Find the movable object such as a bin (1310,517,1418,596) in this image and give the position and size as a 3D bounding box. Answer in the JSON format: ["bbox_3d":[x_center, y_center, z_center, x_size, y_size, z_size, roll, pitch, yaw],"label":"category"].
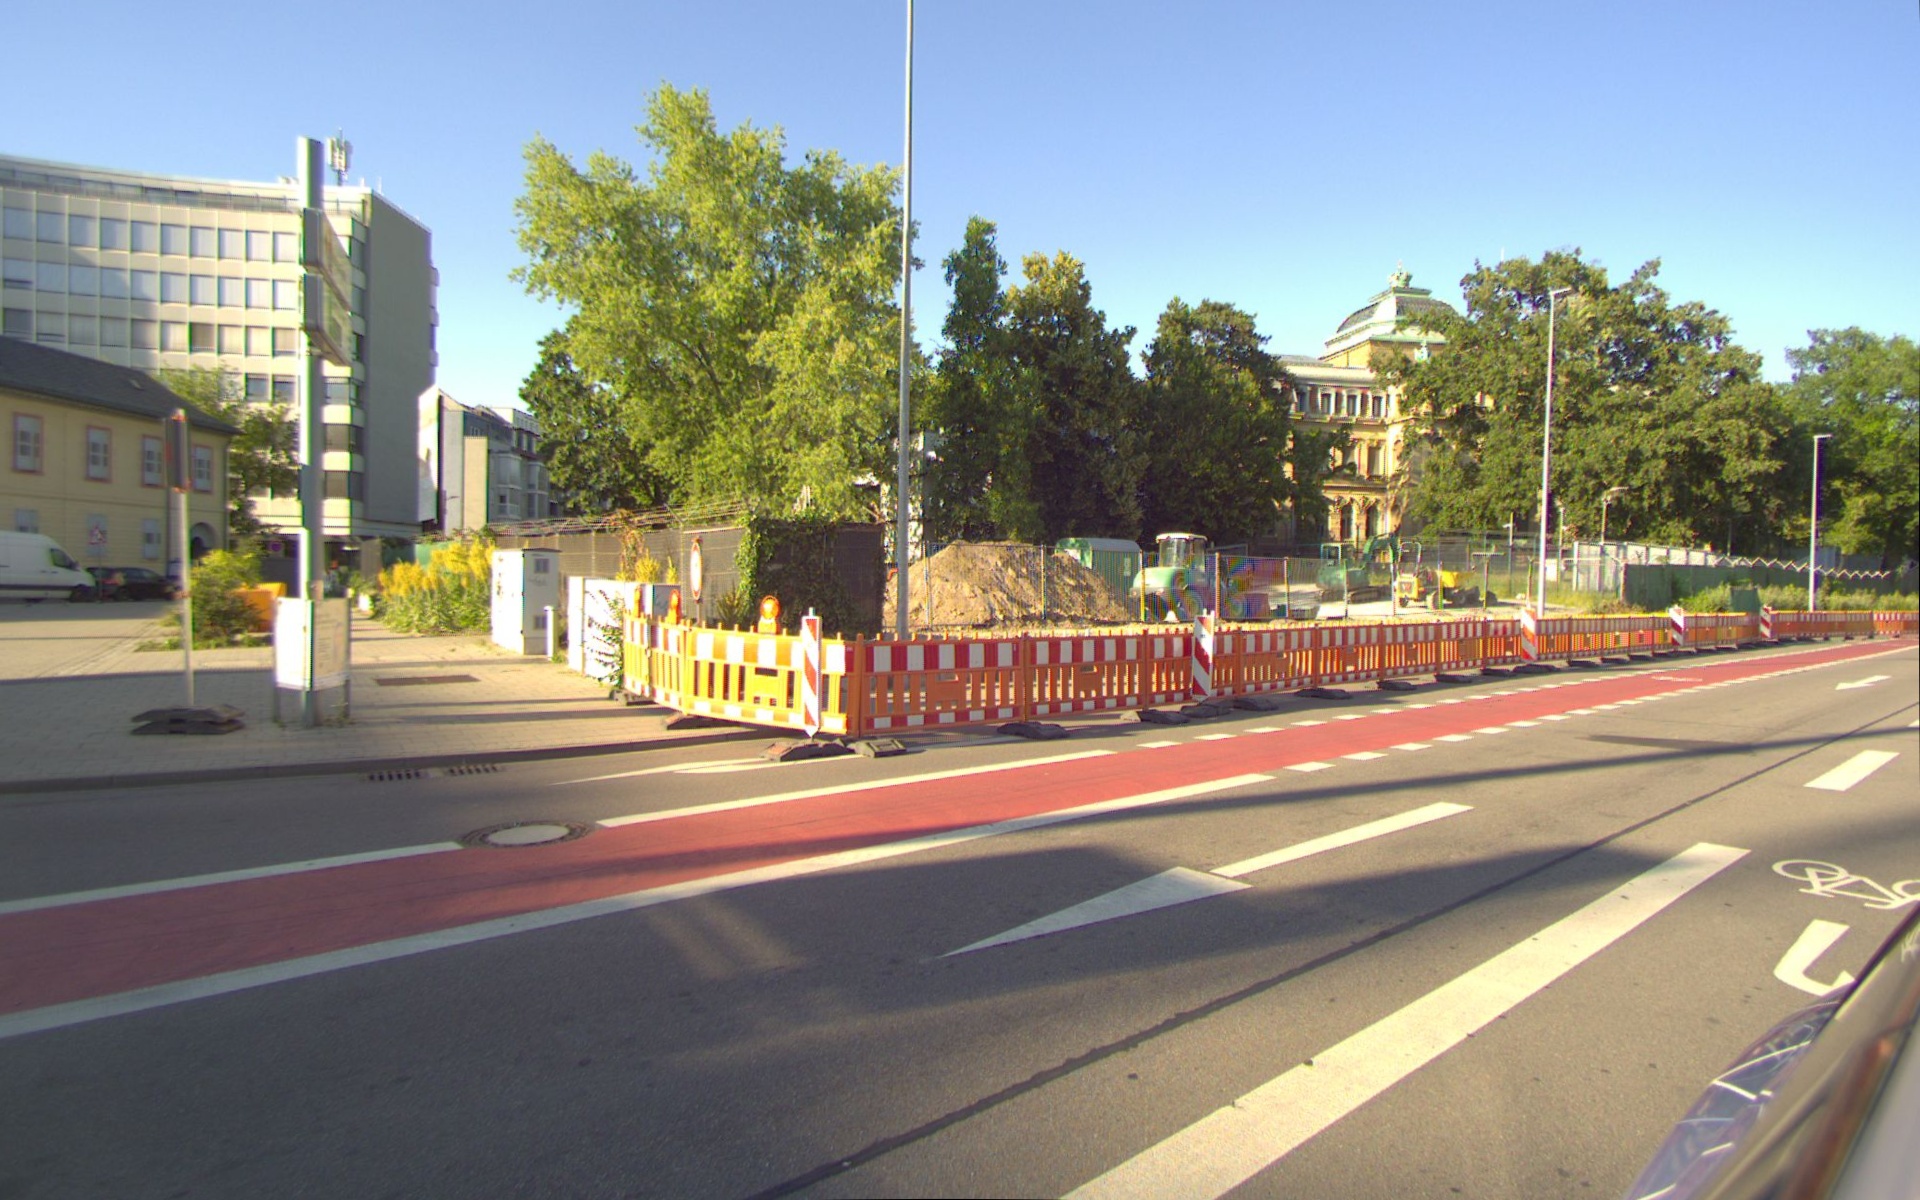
[{"bbox_3d":[18.158,-1.866,45.385,5.274,3.371,1.999,-1,0,-36],"label":"movable object such as a bin"}]

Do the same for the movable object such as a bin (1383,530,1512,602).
[{"bbox_3d":[20.425,-1.362,42.365,5.750,2.852,2.002,-1,0,-30],"label":"movable object such as a bin"}]

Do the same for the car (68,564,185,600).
[{"bbox_3d":[-34.341,-0.732,41.821,1.682,1.382,3.761,0,0,1],"label":"car"}]

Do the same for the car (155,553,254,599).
[{"bbox_3d":[-34.397,-1.085,46.176,1.682,2.005,3.761,0,0,1],"label":"car"}]

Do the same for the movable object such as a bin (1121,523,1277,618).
[{"bbox_3d":[7.439,-0.872,31.304,4.920,2.717,1.999,-1,0,-36],"label":"movable object such as a bin"}]

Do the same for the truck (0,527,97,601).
[{"bbox_3d":[-34.315,-1.255,36.062,2.258,2.581,5.638,0,0,1],"label":"truck"}]
